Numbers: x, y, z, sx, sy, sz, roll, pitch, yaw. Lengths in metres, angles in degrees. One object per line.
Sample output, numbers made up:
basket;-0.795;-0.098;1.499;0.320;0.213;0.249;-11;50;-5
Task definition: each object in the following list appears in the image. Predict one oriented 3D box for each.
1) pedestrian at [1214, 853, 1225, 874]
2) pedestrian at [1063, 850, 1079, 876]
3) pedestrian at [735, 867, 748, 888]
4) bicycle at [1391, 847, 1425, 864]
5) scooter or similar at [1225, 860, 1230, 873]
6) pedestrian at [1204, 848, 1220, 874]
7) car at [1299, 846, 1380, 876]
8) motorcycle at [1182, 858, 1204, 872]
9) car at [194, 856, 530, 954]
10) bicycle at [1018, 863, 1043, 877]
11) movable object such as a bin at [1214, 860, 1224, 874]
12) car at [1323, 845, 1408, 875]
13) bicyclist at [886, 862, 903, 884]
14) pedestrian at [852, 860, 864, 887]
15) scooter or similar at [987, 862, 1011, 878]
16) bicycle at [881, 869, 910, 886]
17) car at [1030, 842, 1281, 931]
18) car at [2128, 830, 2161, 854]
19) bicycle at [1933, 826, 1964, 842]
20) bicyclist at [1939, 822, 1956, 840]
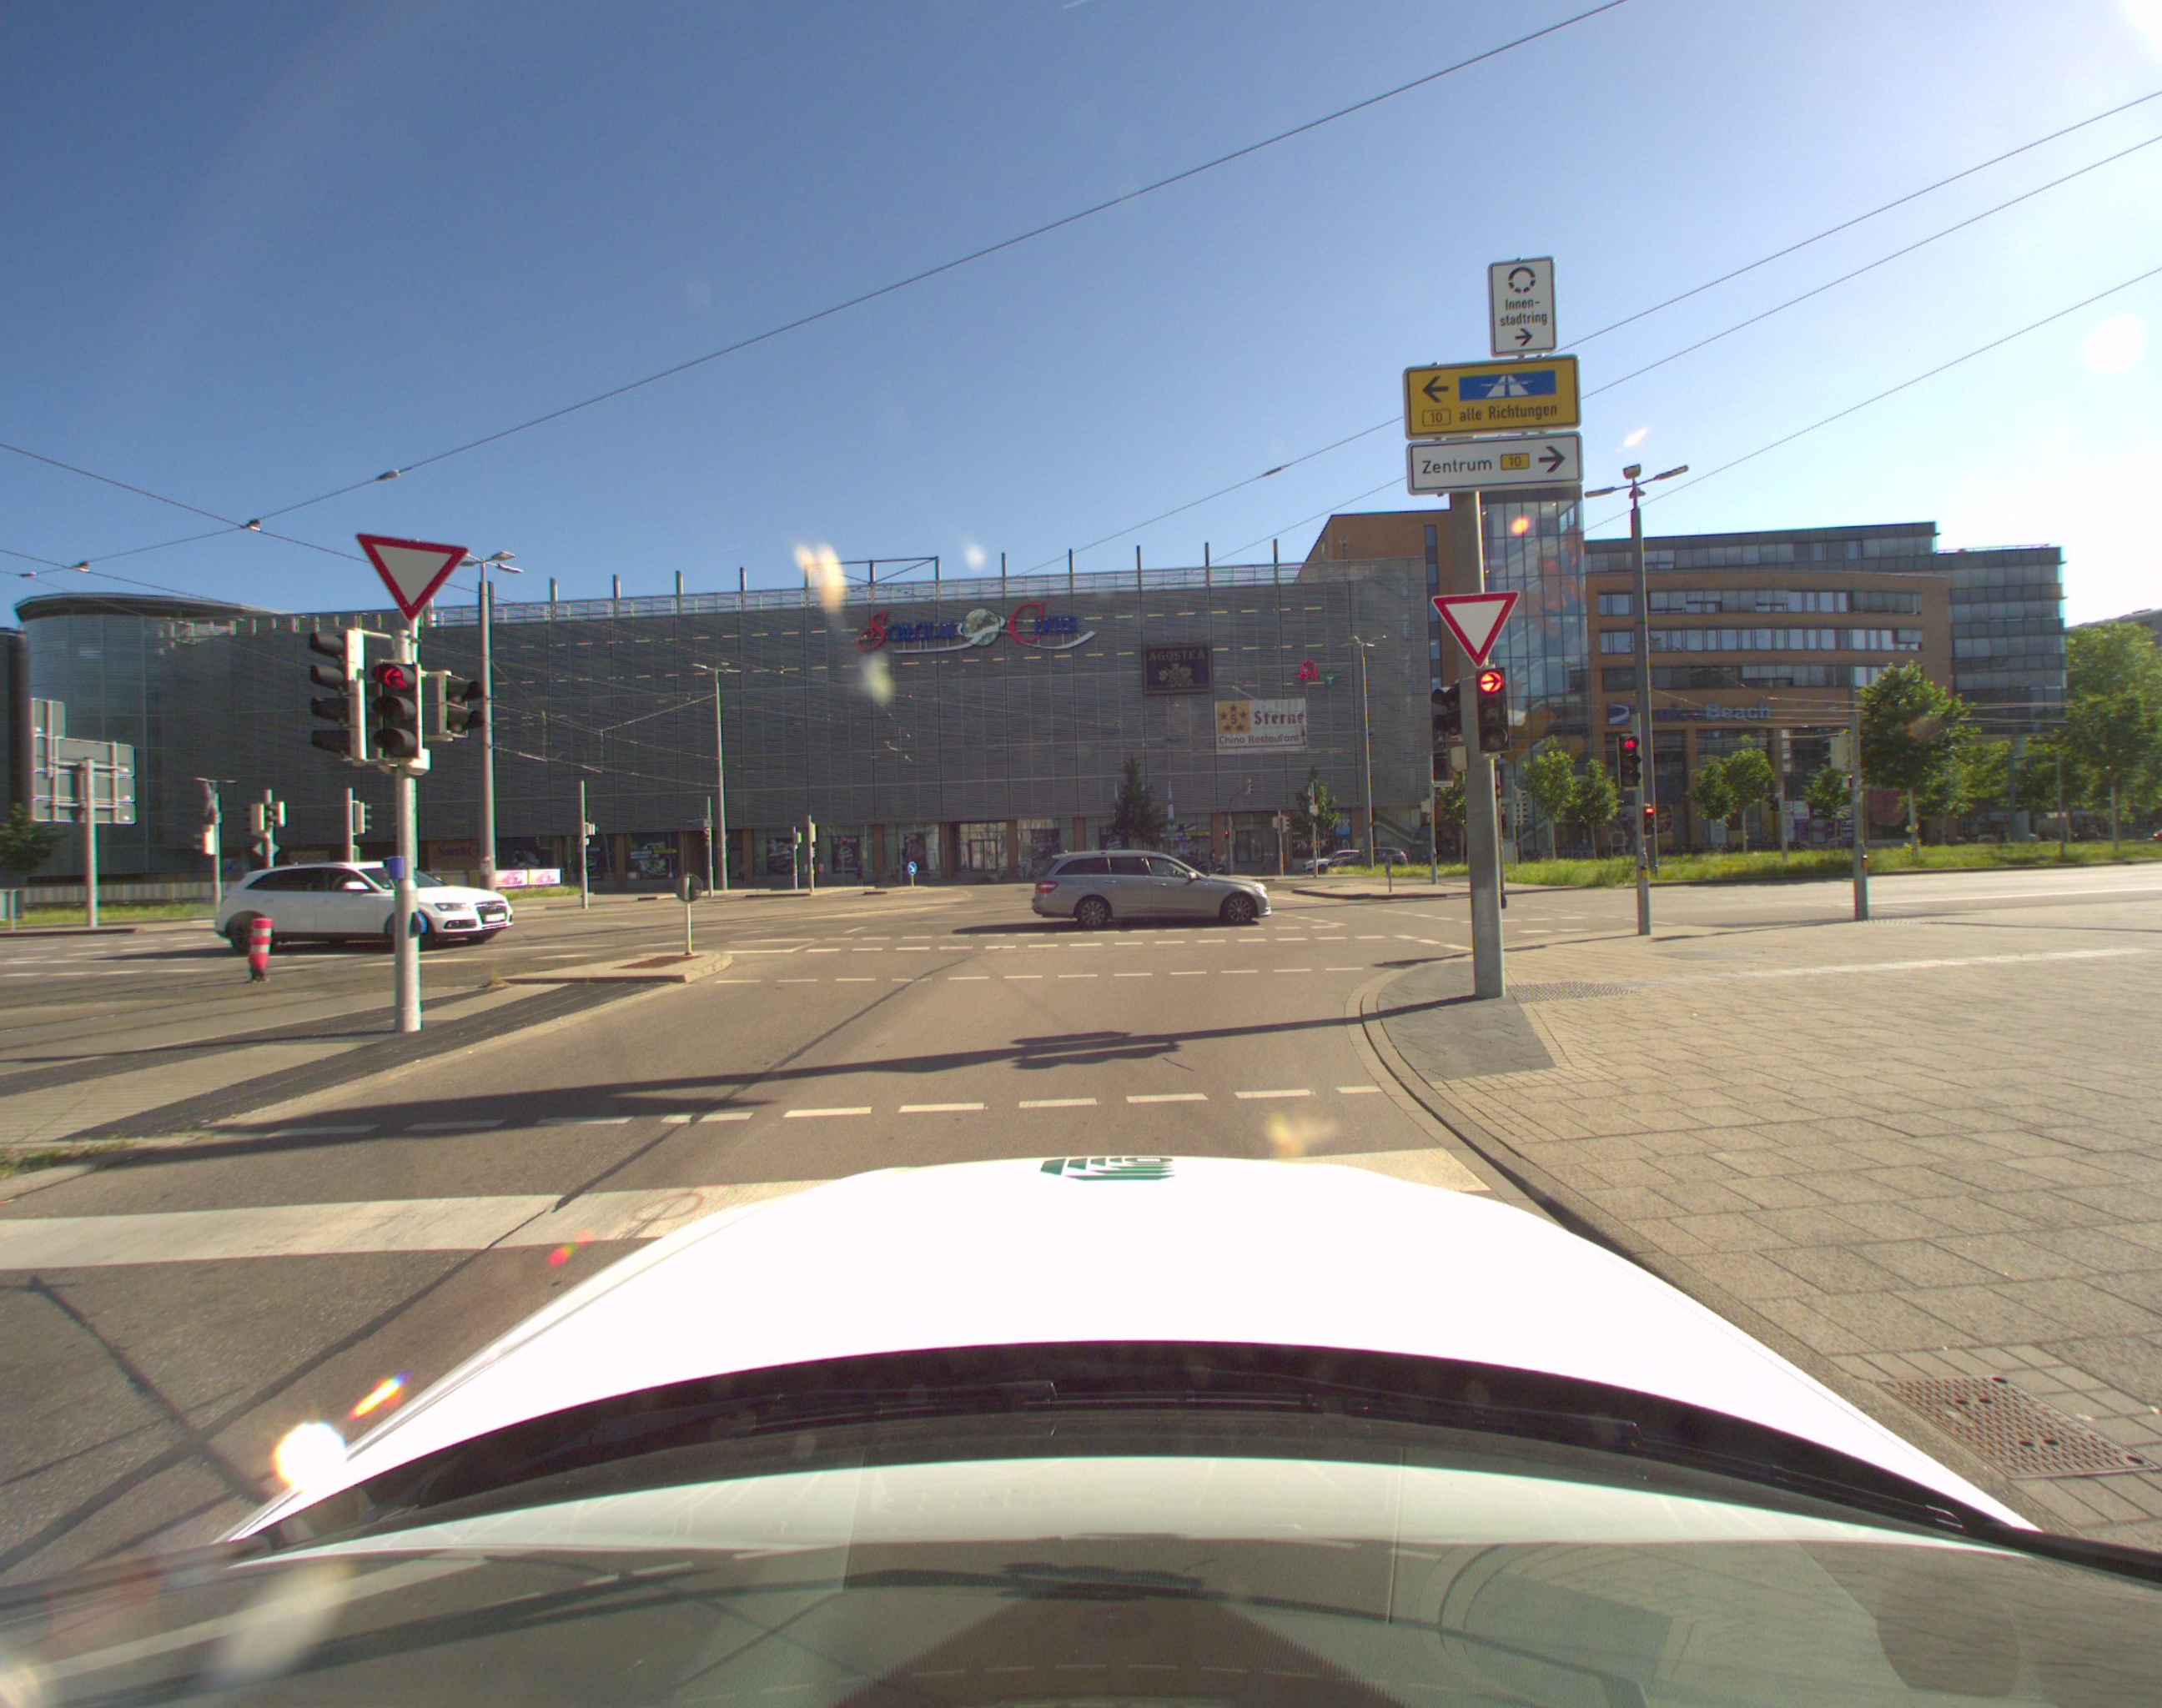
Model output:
pedestrian;9.406;0.629;55.204;0.650;1.414;0.853;-1;-1;12
pedestrian;-0.738;0.640;59.747;0.945;1.829;0.847;-3;-4;7
pedestrian;-26.239;1.802;62.931;0.654;1.601;0.597;-1;-1;20
bicycle;24.344;0.110;60.619;2.247;1.296;0.606;0;-1;0
scooter or similar;9.921;0.867;55.009;0.293;0.873;1.007;-1;-1;12
pedestrian;9.488;0.473;59.183;1.007;1.828;1.037;-3;0;5
car;15.502;0.449;48.999;4.274;1.645;1.841;2;-1;1
motorcycle;8.314;0.828;60.597;1.630;1.004;0.448;0;0;8
car;-13.589;0.911;15.634;4.655;1.707;1.937;-1;0;-1
bicycle;-3.780;1.171;60.793;1.815;0.989;0.556;-2;1;-8
movable object such as a bin;9.272;0.880;54.741;0.608;0.904;0.972;-1;-1;12
car;15.883;0.347;45.621;4.132;1.470;1.841;2;-1;0
bicyclist;-12.628;1.271;55.241;0.667;1.427;0.855;-1;2;45
pedestrian;-15.202;1.308;55.465;0.695;1.797;0.727;-3;0;-14
scooter or similar;-6.183;1.201;61.234;1.790;1.066;0.611;-2;1;-6
bicycle;-12.584;1.582;55.313;0.562;1.086;1.874;-1;2;45
car;1.423;0.609;16.622;4.848;1.572;1.704;-2;0;-5
car;78.484;-0.817;58.649;4.284;1.584;1.836;2;-1;-7
bicycle;69.831;-1.594;65.576;1.850;1.217;0.569;-2;1;1
bicyclist;69.793;-1.832;65.562;0.750;1.386;0.566;-2;1;1
